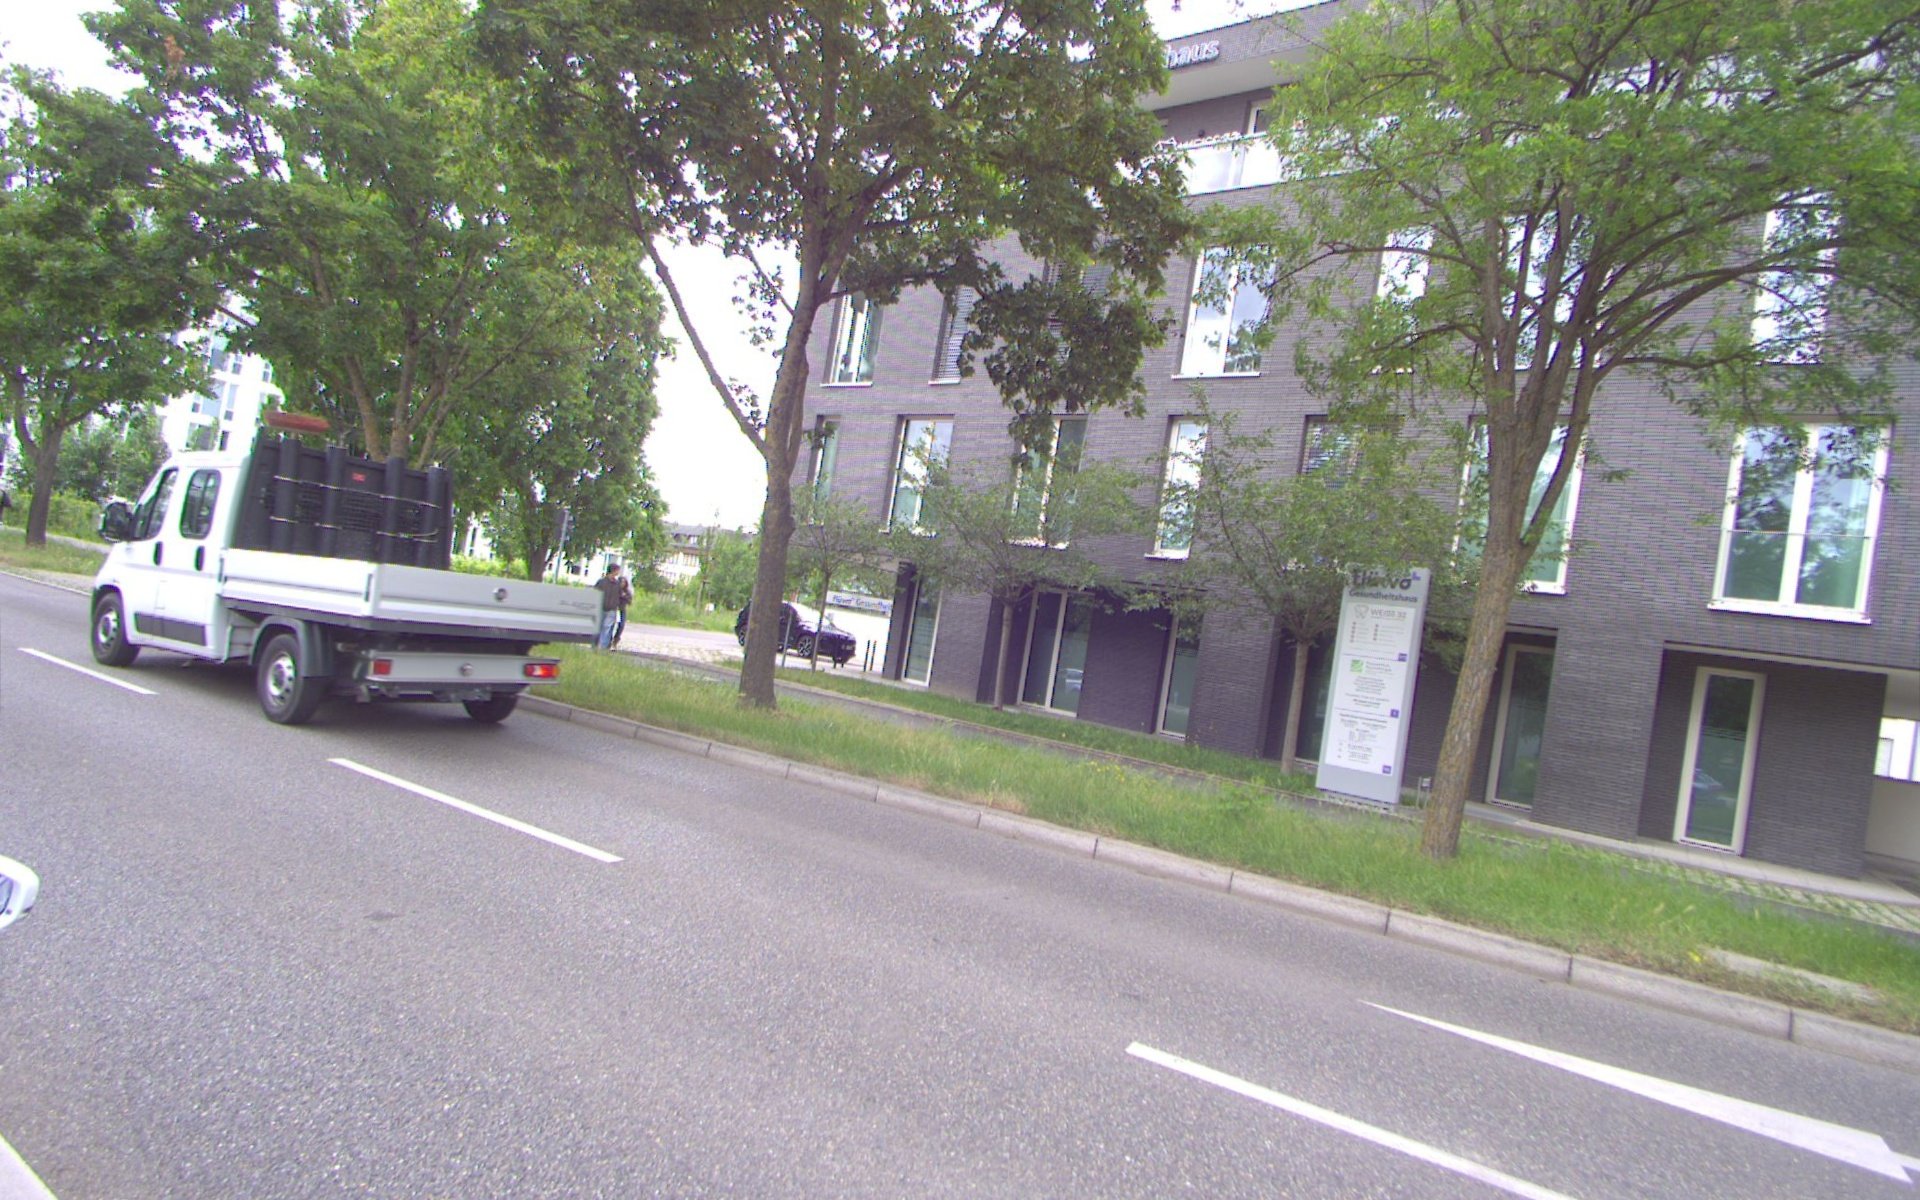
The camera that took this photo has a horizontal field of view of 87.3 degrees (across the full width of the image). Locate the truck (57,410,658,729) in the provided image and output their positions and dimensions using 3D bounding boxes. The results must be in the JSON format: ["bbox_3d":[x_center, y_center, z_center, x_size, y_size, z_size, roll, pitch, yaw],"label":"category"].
[{"bbox_3d":[-5.845,-0.378,9.505,5.746,2.228,2.217,7,-2,31],"label":"truck"}]

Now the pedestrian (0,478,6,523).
[{"bbox_3d":[-35.472,-3.684,36.634,0.868,1.614,0.701,6,-1,31],"label":"pedestrian"}]

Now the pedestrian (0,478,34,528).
[{"bbox_3d":[-35.123,-3.611,37.322,0.868,1.705,0.768,6,-1,31],"label":"pedestrian"}]

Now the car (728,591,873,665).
[{"bbox_3d":[-4.942,0.857,31.024,4.080,1.665,1.759,7,-2,32],"label":"car"}]

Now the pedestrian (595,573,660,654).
[{"bbox_3d":[-7.126,0.297,21.582,0.864,1.575,0.831,7,-2,44],"label":"pedestrian"}]

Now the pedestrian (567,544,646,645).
[{"bbox_3d":[-7.177,-0.111,20.418,0.965,1.889,0.958,7,-2,42],"label":"pedestrian"}]
